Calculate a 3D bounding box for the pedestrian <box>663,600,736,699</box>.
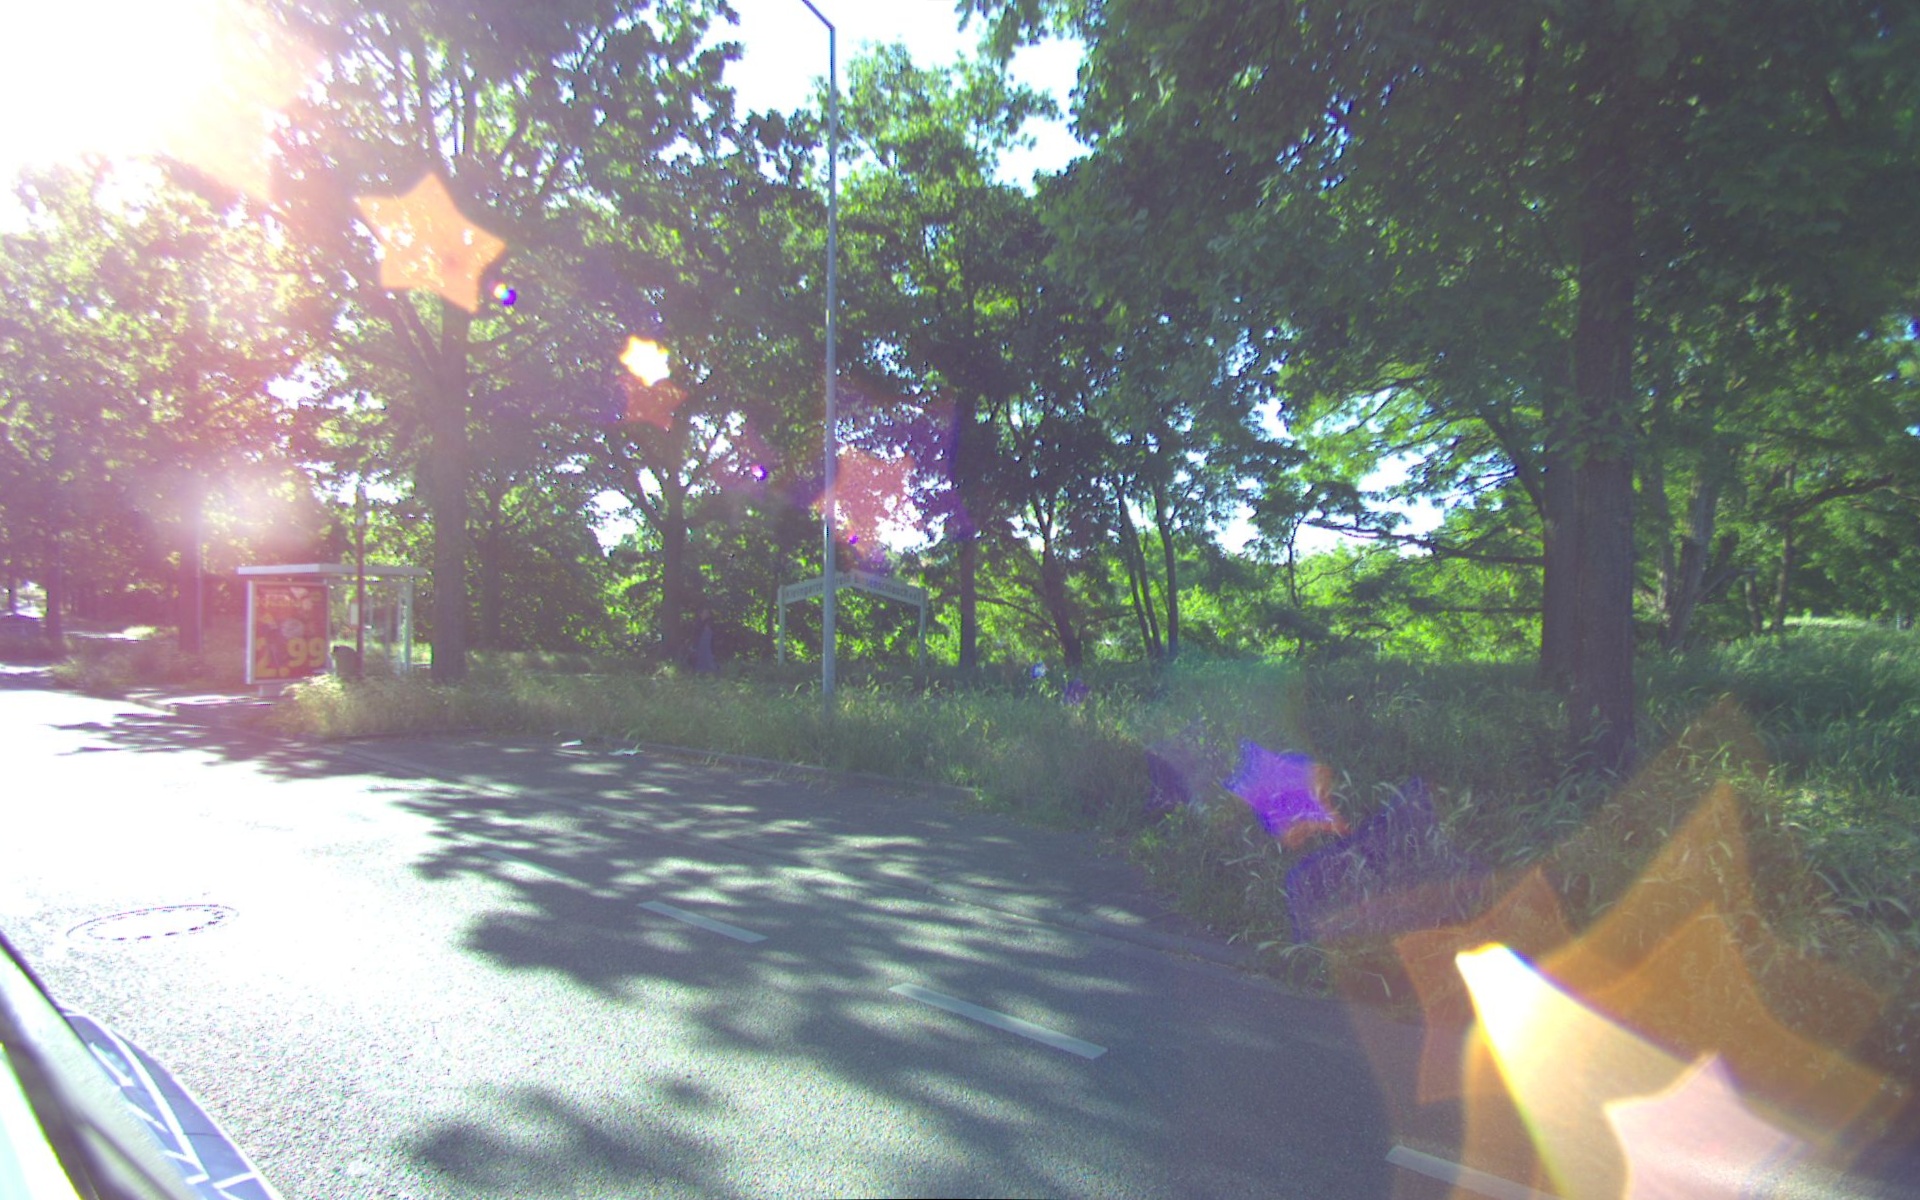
[{"bbox_3d":[-4.631,0.856,18.003,0.891,1.701,0.903,-2,-1,42],"label":"pedestrian"}]
